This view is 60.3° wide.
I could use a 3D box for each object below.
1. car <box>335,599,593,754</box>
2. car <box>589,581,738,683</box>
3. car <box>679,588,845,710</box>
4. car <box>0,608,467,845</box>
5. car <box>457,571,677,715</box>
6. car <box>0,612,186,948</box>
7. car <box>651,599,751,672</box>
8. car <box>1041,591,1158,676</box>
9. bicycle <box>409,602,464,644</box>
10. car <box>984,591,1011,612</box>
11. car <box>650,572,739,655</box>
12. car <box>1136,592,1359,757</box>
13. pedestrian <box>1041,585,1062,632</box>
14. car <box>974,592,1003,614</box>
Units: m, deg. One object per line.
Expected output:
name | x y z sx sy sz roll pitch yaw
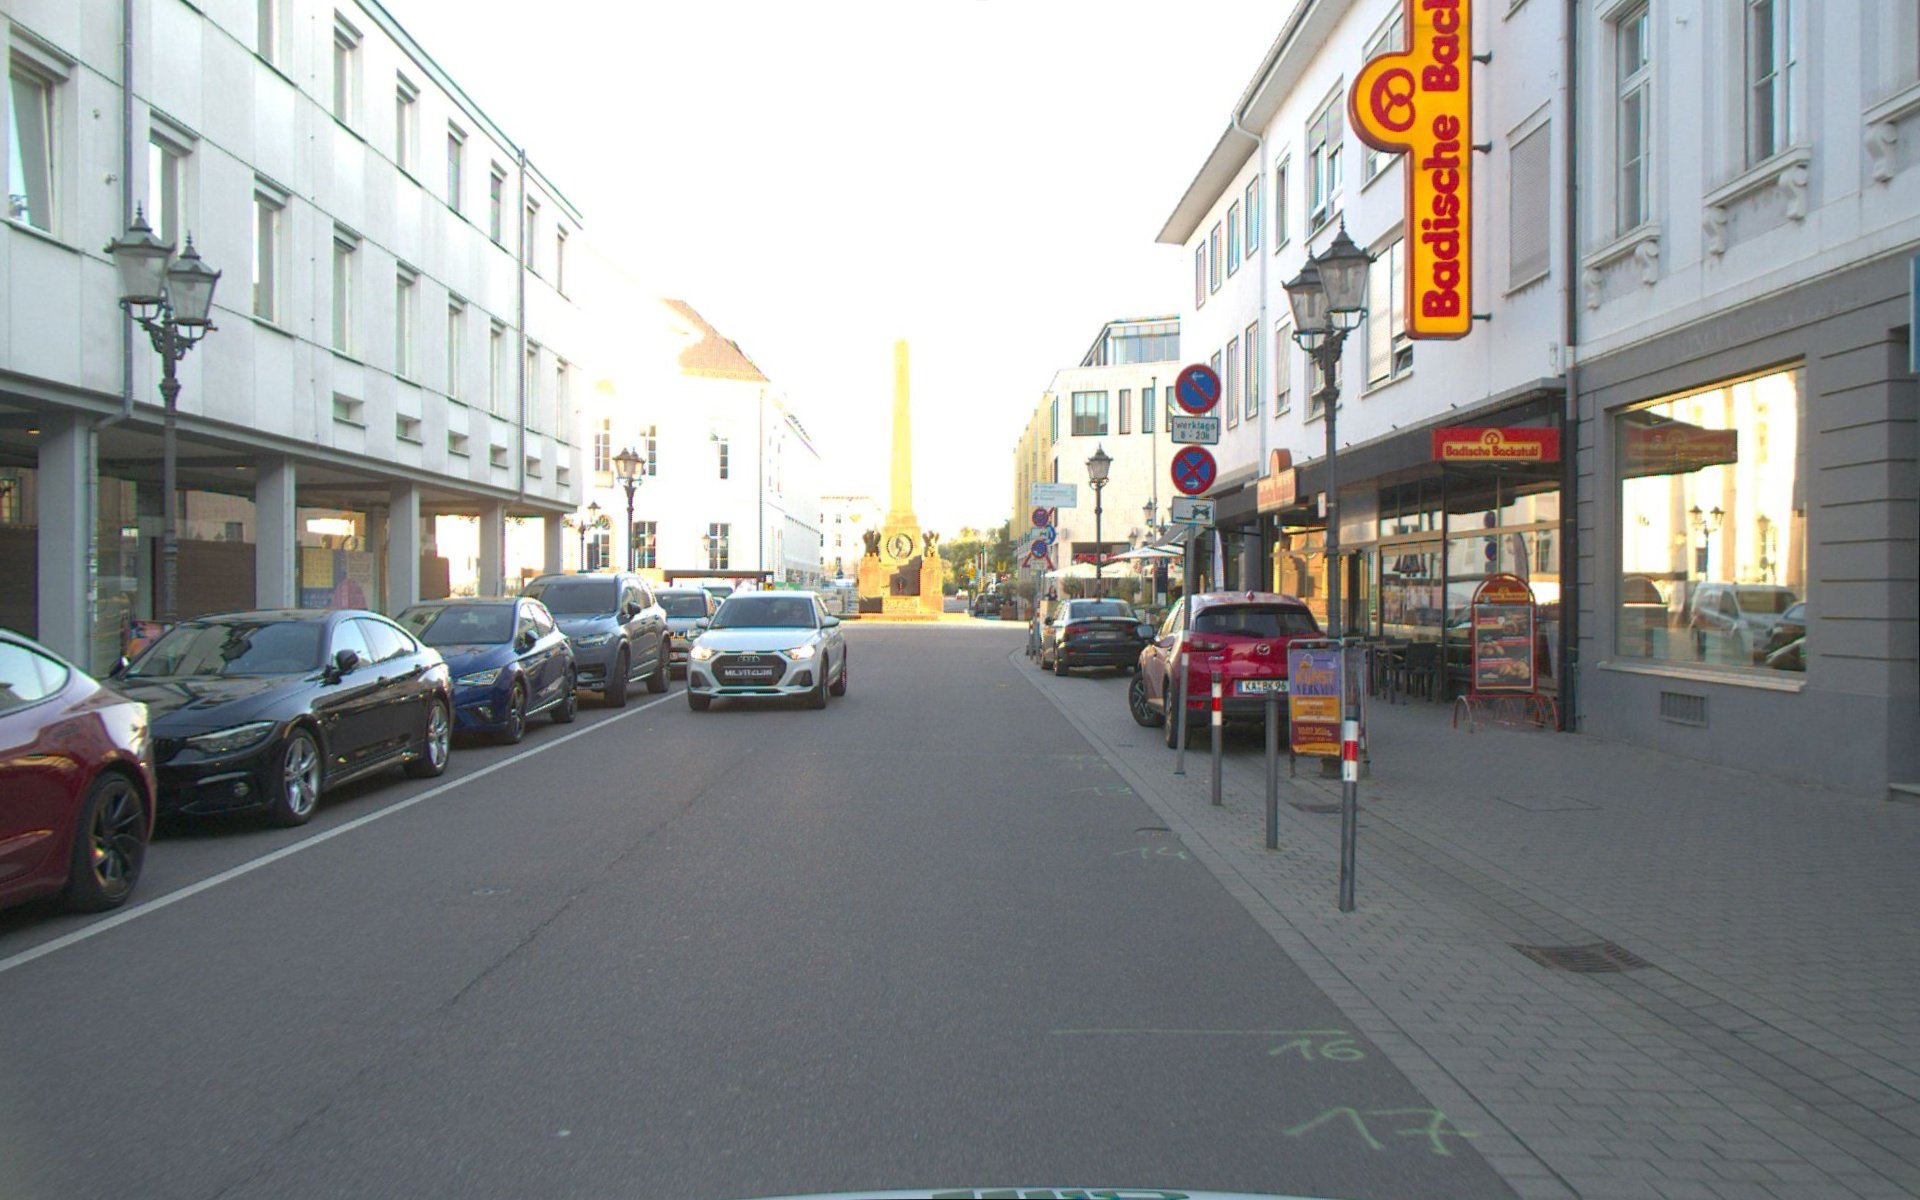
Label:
car | -5.170 0.729 17.764 1.639 1.424 3.999 -1 0 -1
car | -5.239 0.524 29.755 1.953 1.691 4.000 0 0 0
car | -2.520 0.572 21.887 1.728 1.447 4.000 0 0 0
car | -5.169 0.781 12.064 1.953 1.378 4.000 0 0 0
car | -5.296 0.520 22.932 1.953 1.758 4.515 -1 0 0
car | -5.053 0.802 6.855 1.748 1.433 4.088 0 0 0
car | -5.326 0.695 34.421 1.644 1.377 4.103 0 0 -3
car | 2.581 0.594 31.497 1.765 1.489 4.116 0 0 -2
bicycle | -13.196 0.557 41.738 0.718 1.001 2.335 1 0 -2
car | 2.776 0.087 121.635 1.952 1.489 4.000 0 0 1
car | -6.264 0.276 39.453 1.956 1.847 4.776 0 0 -8
car | 2.948 0.706 17.653 1.723 1.549 3.677 0 0 0
pedestrian | 3.261 0.295 59.027 0.676 1.676 0.695 0 0 -1
car | 1.939 0.174 113.153 1.952 1.489 4.000 0 0 1
